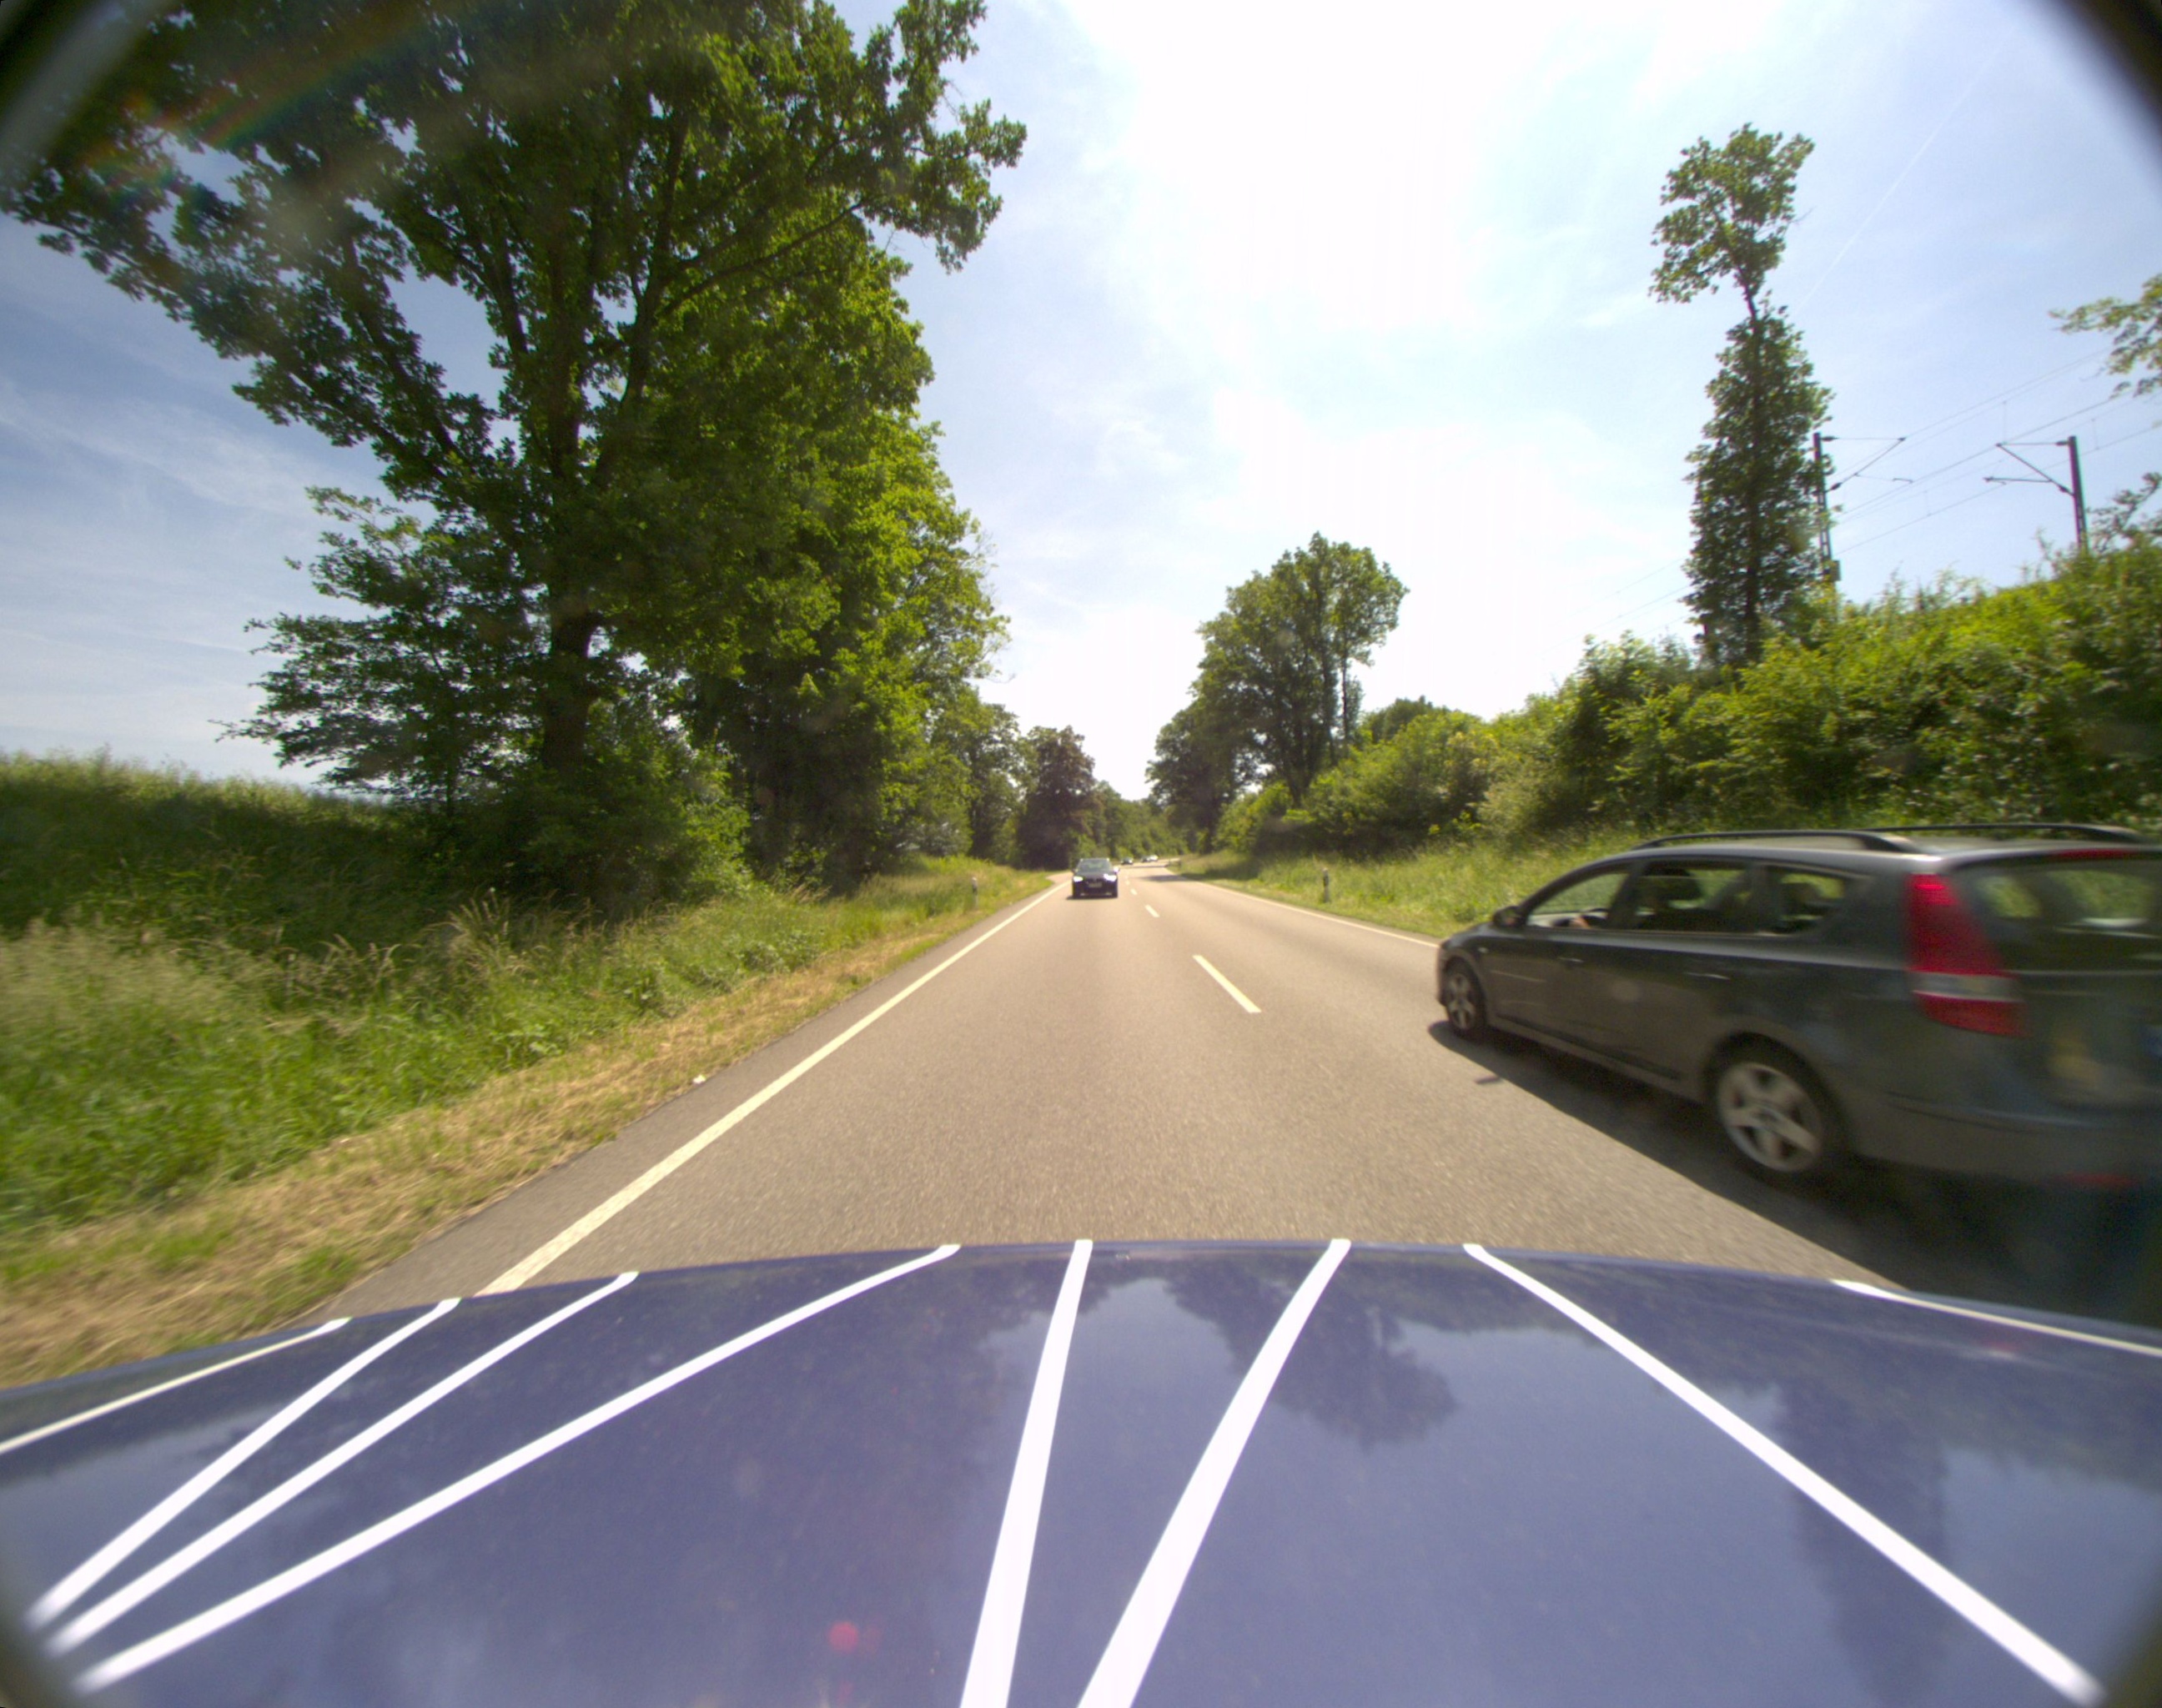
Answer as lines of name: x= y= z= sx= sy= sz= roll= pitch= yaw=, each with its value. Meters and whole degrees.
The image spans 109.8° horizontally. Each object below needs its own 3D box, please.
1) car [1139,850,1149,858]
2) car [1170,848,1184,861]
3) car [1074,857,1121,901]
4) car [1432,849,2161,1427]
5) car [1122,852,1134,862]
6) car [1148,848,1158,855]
car: x=13.257 y=-0.008 z=160.565 sx=1.810 sy=1.580 sz=4.003 roll=-2 pitch=0 yaw=9
car: x=15.323 y=0.125 z=121.452 sx=1.997 sy=2.002 sz=4.002 roll=-2 pitch=0 yaw=7
car: x=0.686 y=0.913 z=29.579 sx=1.661 sy=1.531 sz=3.487 roll=-2 pitch=0 yaw=3
car: x=3.799 y=0.781 z=4.200 sx=1.776 sy=1.561 sz=4.218 roll=-2 pitch=0 yaw=1
car: x=7.942 y=0.563 z=127.482 sx=1.811 sy=1.580 sz=4.002 roll=-2 pitch=0 yaw=6
car: x=16.769 y=-0.535 z=177.302 sx=1.810 sy=1.580 sz=4.003 roll=-2 pitch=0 yaw=10
